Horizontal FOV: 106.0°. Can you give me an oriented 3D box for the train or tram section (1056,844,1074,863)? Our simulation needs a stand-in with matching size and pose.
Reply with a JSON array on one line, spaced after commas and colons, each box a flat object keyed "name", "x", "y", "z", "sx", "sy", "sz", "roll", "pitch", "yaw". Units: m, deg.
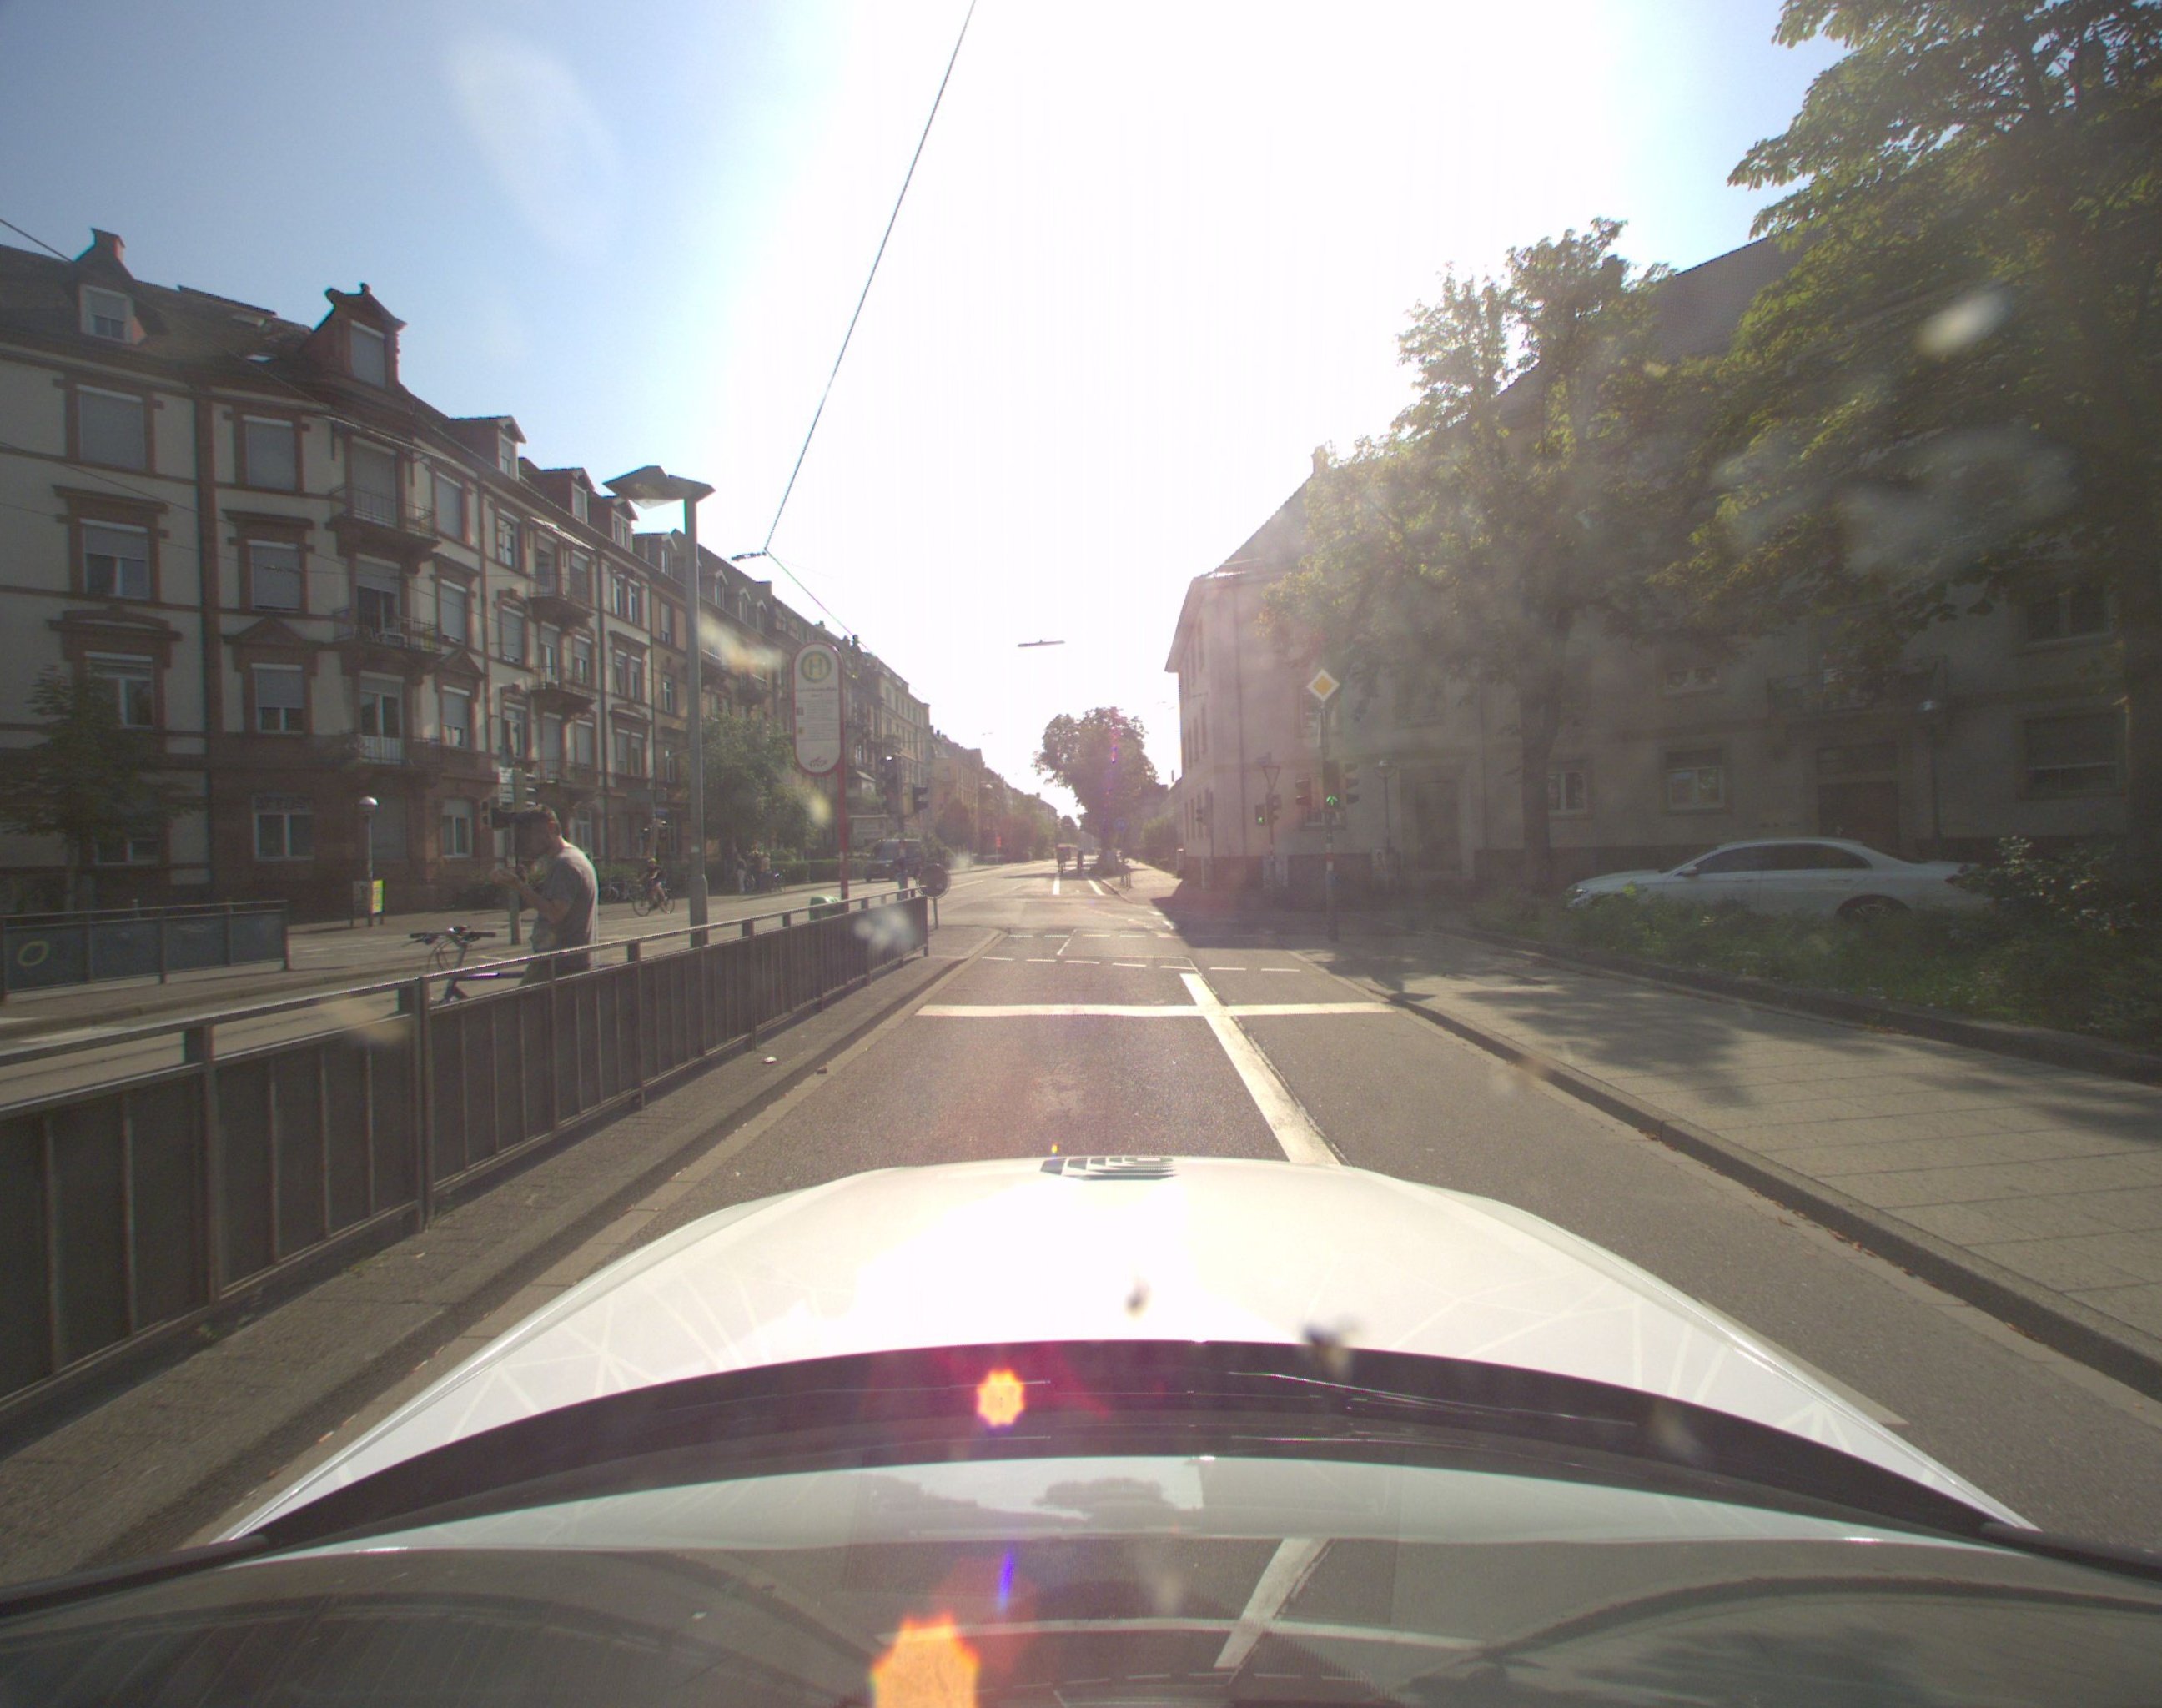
[{"name": "train or tram section", "x": -3.159, "y": -0.036, "z": 162.315, "sx": 2.724, "sy": 3.505, "sz": 15.438, "roll": -1, "pitch": 0, "yaw": 2}]

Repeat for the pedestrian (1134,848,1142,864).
[{"name": "pedestrian", "x": 6.077, "y": 0.208, "z": 86.868, "sx": 0.748, "sy": 1.749, "sz": 0.880, "roll": -2, "pitch": 0, "yaw": 8}]

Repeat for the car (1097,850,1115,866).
[{"name": "car", "x": 2.582, "y": 0.386, "z": 83.584, "sx": 1.639, "sy": 1.448, "sz": 4.248, "roll": -4, "pitch": 0, "yaw": 2}]

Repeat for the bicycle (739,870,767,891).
[{"name": "bicycle", "x": -15.799, "y": 1.252, "z": 39.283, "sx": 0.524, "sy": 0.927, "sz": 1.705, "roll": -2, "pitch": 0, "yaw": 5}]

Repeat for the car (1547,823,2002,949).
[{"name": "car", "x": 10.073, "y": 0.438, "z": 12.318, "sx": 4.891, "sy": 1.469, "sz": 1.888, "roll": -2, "pitch": 2, "yaw": 43}]

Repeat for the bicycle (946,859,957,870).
[{"name": "bicycle", "x": -12.842, "y": 1.043, "z": 80.946, "sx": 0.604, "sy": 1.058, "sz": 1.841, "roll": 2, "pitch": 0, "yaw": 4}]

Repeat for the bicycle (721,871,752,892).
[{"name": "bicycle", "x": -15.894, "y": 1.251, "z": 37.590, "sx": 0.524, "sy": 0.860, "sz": 1.705, "roll": -2, "pitch": 0, "yaw": 5}]

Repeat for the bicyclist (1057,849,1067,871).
[{"name": "bicyclist", "x": -1.216, "y": 0.393, "z": 52.555, "sx": 0.624, "sy": 1.401, "sz": 0.929, "roll": 0, "pitch": 0, "yaw": 1}]

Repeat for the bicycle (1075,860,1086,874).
[{"name": "bicycle", "x": -0.043, "y": 0.831, "z": 51.959, "sx": 0.652, "sy": 0.909, "sz": 1.775, "roll": 0, "pitch": 0, "yaw": 1}]

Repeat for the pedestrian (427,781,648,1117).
[{"name": "pedestrian", "x": -3.098, "y": 0.504, "z": 4.724, "sx": 0.687, "sy": 1.766, "sz": 0.796, "roll": -2, "pitch": 0, "yaw": 1}]

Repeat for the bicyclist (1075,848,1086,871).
[{"name": "bicyclist", "x": -0.035, "y": 0.345, "z": 51.946, "sx": 0.652, "sy": 1.474, "sz": 0.909, "roll": 0, "pitch": 0, "yaw": 1}]

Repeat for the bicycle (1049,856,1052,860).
[{"name": "bicycle", "x": -7.778, "y": 1.028, "z": 210.239, "sx": 0.558, "sy": 1.221, "sz": 2.116, "roll": -2, "pitch": 0, "yaw": 4}]

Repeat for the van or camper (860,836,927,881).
[{"name": "van or camper", "x": -12.136, "y": 0.292, "z": 53.150, "sx": 2.038, "sy": 2.644, "sz": 6.105, "roll": -2, "pitch": -1, "yaw": 9}]

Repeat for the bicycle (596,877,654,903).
[{"name": "bicycle", "x": -17.351, "y": 1.357, "z": 31.003, "sx": 0.521, "sy": 0.860, "sz": 1.840, "roll": -1, "pitch": 0, "yaw": 40}]

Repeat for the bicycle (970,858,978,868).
[{"name": "bicycle", "x": -12.373, "y": 1.009, "z": 93.905, "sx": 0.542, "sy": 1.058, "sz": 1.841, "roll": 2, "pitch": 0, "yaw": 4}]

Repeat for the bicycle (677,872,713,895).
[{"name": "bicycle", "x": -16.427, "y": 1.244, "z": 34.692, "sx": 0.524, "sy": 0.860, "sz": 1.831, "roll": -2, "pitch": 0, "yaw": 5}]

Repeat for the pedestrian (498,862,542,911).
[{"name": "pedestrian", "x": -18.794, "y": 1.077, "z": 27.300, "sx": 0.831, "sy": 1.571, "sz": 0.952, "roll": -2, "pitch": 0, "yaw": 35}]

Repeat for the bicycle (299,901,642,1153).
[{"name": "bicycle", "x": -3.446, "y": 0.893, "z": 4.828, "sx": 0.469, "sy": 1.104, "sz": 1.742, "roll": -2, "pitch": 0, "yaw": 10}]

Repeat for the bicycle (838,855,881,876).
[{"name": "bicycle", "x": -16.322, "y": 0.831, "z": 60.030, "sx": 2.870, "sy": 1.455, "sz": 0.996, "roll": -1, "pitch": 0, "yaw": -5}]

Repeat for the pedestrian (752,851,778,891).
[{"name": "pedestrian", "x": -14.388, "y": 0.759, "z": 37.090, "sx": 0.725, "sy": 1.806, "sz": 1.093, "roll": -2, "pitch": 0, "yaw": 1}]

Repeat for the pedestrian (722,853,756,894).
[{"name": "pedestrian", "x": -15.366, "y": 0.868, "z": 36.578, "sx": 0.900, "sy": 1.766, "sz": 1.187, "roll": -2, "pitch": 0, "yaw": 5}]

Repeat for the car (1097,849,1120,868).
[{"name": "car", "x": 2.598, "y": 0.403, "z": 75.567, "sx": 1.636, "sy": 1.540, "sz": 3.850, "roll": -4, "pitch": 0, "yaw": 8}]

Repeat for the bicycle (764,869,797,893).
[{"name": "bicycle", "x": -13.834, "y": 1.243, "z": 37.538, "sx": 0.616, "sy": 1.007, "sz": 2.151, "roll": -2, "pitch": 0, "yaw": 2}]

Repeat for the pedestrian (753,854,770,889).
[{"name": "pedestrian", "x": -15.623, "y": 0.854, "z": 39.830, "sx": 0.637, "sy": 1.678, "sz": 0.631, "roll": -2, "pitch": 0, "yaw": -10}]

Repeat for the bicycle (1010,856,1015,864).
[{"name": "bicycle", "x": -10.850, "y": 0.944, "z": 129.003, "sx": 0.506, "sy": 1.107, "sz": 2.004, "roll": -2, "pitch": 0, "yaw": 3}]

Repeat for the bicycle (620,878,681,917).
[{"name": "bicycle", "x": -13.673, "y": 1.349, "z": 25.909, "sx": 0.681, "sy": 1.103, "sz": 2.072, "roll": -2, "pitch": 0, "yaw": 4}]

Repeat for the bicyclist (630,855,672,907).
[{"name": "bicyclist", "x": -13.690, "y": 0.850, "z": 25.959, "sx": 0.670, "sy": 1.614, "sz": 1.045, "roll": -2, "pitch": 0, "yaw": 4}]

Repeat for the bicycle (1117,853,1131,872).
[{"name": "bicycle", "x": 2.723, "y": 0.523, "z": 51.799, "sx": 0.769, "sy": 1.104, "sz": 2.333, "roll": -2, "pitch": 0, "yaw": 0}]

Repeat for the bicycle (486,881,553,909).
[{"name": "bicycle", "x": -19.454, "y": 1.406, "z": 28.249, "sx": 0.521, "sy": 0.860, "sz": 1.840, "roll": -1, "pitch": 0, "yaw": 40}]

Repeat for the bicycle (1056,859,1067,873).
[{"name": "bicycle", "x": -1.235, "y": 0.774, "z": 52.544, "sx": 0.624, "sy": 0.909, "sz": 1.525, "roll": 0, "pitch": 0, "yaw": 1}]
